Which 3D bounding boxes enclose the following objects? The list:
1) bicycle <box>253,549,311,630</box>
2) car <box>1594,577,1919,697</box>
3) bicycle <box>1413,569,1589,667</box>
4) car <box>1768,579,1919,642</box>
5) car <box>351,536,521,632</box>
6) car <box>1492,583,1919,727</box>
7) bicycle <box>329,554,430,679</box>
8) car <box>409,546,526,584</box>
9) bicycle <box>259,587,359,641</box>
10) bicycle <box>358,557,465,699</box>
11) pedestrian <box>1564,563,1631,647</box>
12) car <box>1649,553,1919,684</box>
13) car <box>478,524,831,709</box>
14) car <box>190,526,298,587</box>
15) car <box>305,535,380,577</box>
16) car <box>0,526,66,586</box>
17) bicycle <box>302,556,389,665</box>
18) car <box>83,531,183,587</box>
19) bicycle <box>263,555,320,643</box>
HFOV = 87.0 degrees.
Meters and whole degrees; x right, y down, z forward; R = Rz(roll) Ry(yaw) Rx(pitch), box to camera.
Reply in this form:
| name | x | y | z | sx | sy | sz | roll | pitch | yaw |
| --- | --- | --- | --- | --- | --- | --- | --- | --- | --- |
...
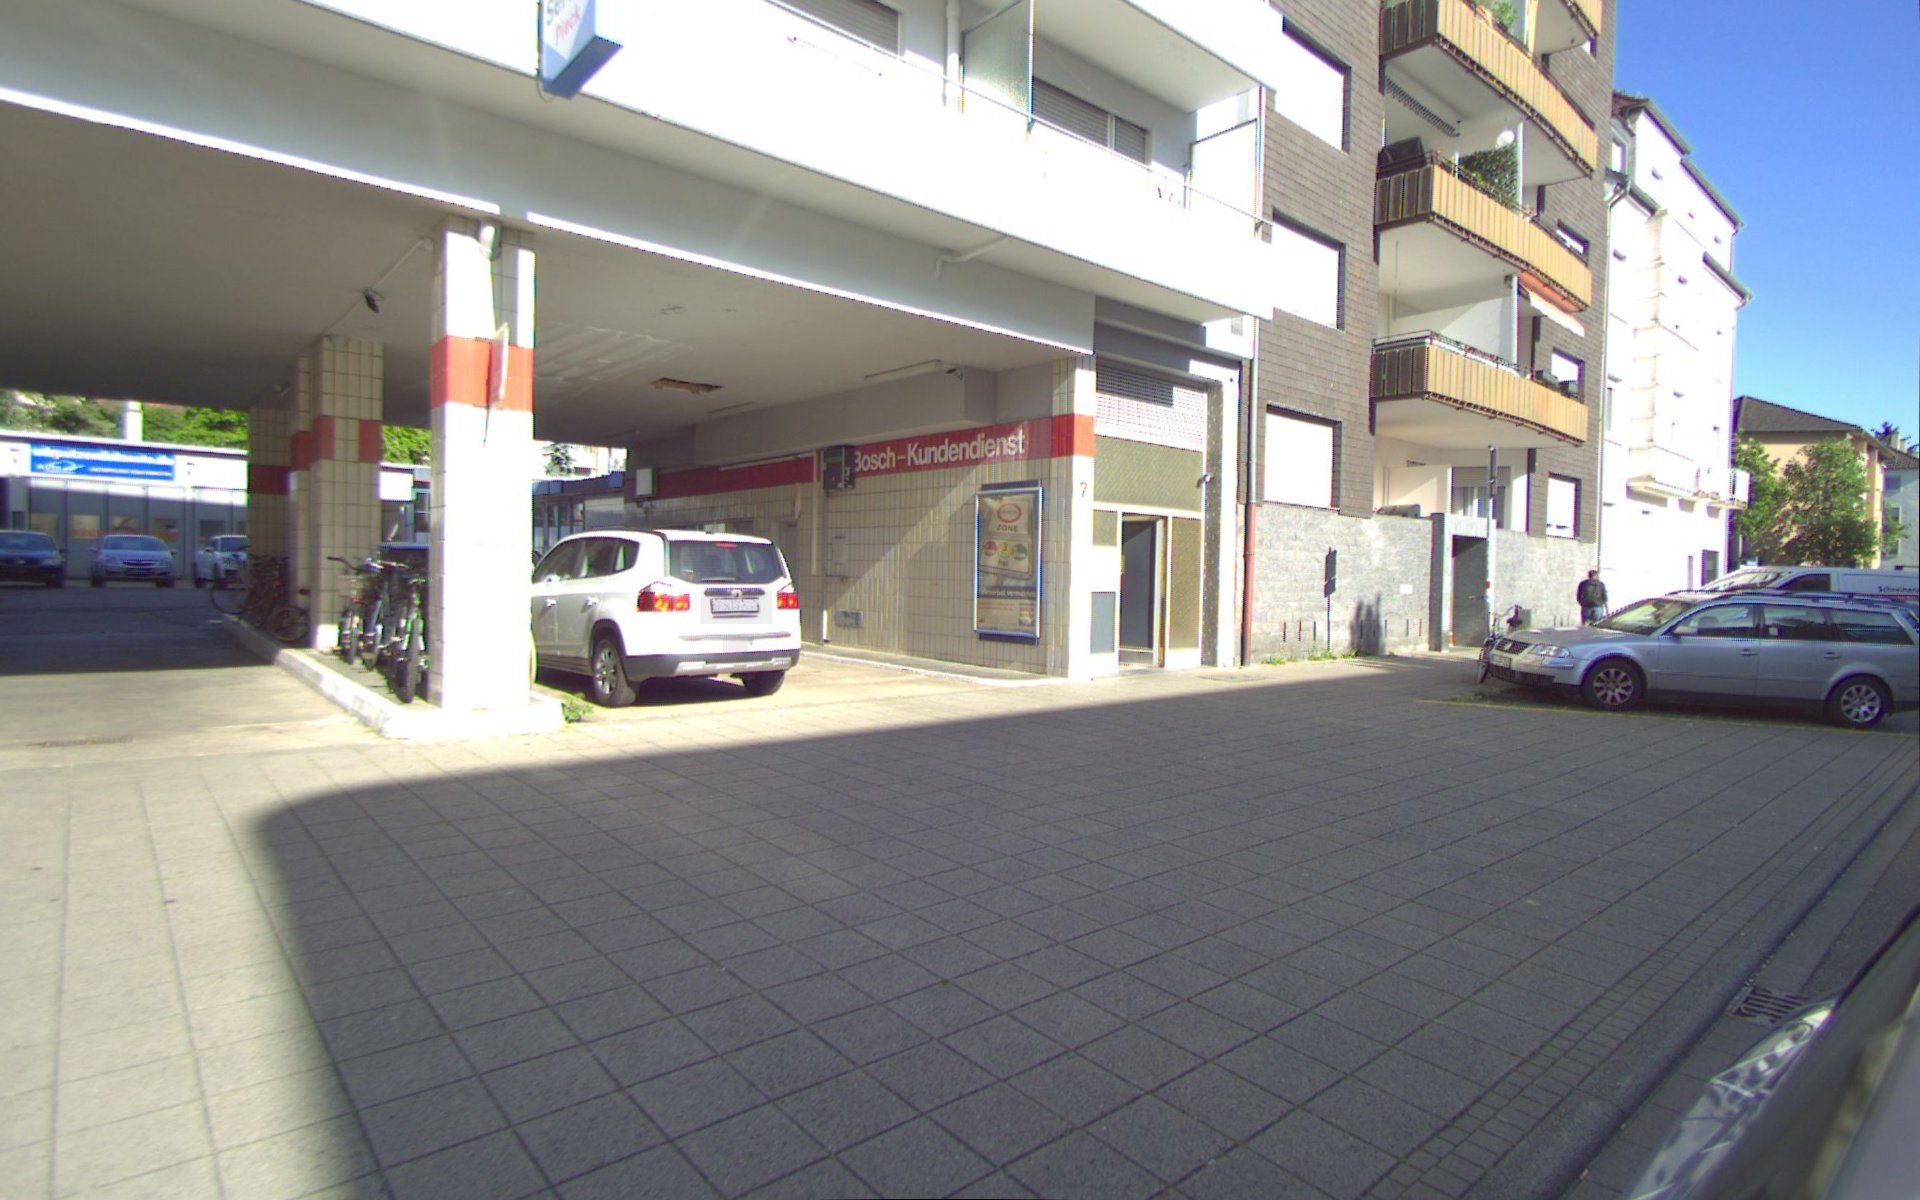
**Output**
| name | x | y | z | sx | sy | sz | roll | pitch | yaw |
| --- | --- | --- | --- | --- | --- | --- | --- | --- | --- |
| bicycle | -11.110 | -0.173 | 16.557 | 0.561 | 1.250 | 2.089 | -3 | 2 | -39 |
| car | 12.006 | 0.490 | 14.780 | 4.249 | 1.531 | 1.755 | 1 | 2 | 4 |
| bicycle | 7.505 | 0.256 | 14.054 | 2.214 | 1.270 | 0.708 | 2 | 0 | -14 |
| car | 24.765 | 0.319 | 26.778 | 4.803 | 1.482 | 1.965 | 4 | 2 | 14 |
| car | -9.278 | -0.332 | 17.762 | 1.706 | 1.494 | 3.993 | -3 | 3 | -41 |
| car | 9.299 | 0.613 | 12.379 | 4.567 | 1.483 | 1.689 | 1 | 3 | 7 |
| bicycle | -5.686 | 0.127 | 9.873 | 0.459 | 1.122 | 1.587 | -3 | 3 | -43 |
| car | -16.688 | -1.206 | 34.319 | 3.168 | 1.182 | 1.997 | -3 | 3 | -41 |
| bicycle | -8.460 | 0.171 | 13.172 | 1.059 | 0.673 | 0.323 | 0 | 2 | -39 |
| bicycle | -4.676 | 0.193 | 8.588 | 0.458 | 1.090 | 1.569 | -3 | 3 | -40 |
| pedestrian | 12.724 | 0.085 | 20.209 | 0.872 | 1.613 | 0.835 | 0 | 2 | -36 |
| car | 14.716 | 0.270 | 17.126 | 4.454 | 1.920 | 2.047 | 3 | 4 | 8 |
| car | -3.409 | 0.019 | 10.698 | 1.945 | 1.531 | 4.400 | -1 | 3 | -41 |
| car | -20.633 | -1.223 | 29.098 | 3.989 | 1.606 | 1.886 | 2 | 1 | 45 |
| car | -25.697 | -1.802 | 42.084 | 1.884 | 1.606 | 3.991 | 0 | 1 | -43 |
| car | -24.727 | -1.145 | 26.462 | 3.989 | 1.459 | 1.730 | 2 | 4 | 45 |
| bicycle | -6.779 | 0.085 | 11.140 | 0.459 | 1.122 | 1.587 | -3 | 3 | -43 |
| car | -23.178 | -1.147 | 28.319 | 3.989 | 1.459 | 1.730 | 2 | 4 | 45 |
| bicycle | -9.822 | -0.060 | 14.834 | 0.475 | 1.175 | 2.060 | -3 | 4 | -39 |
